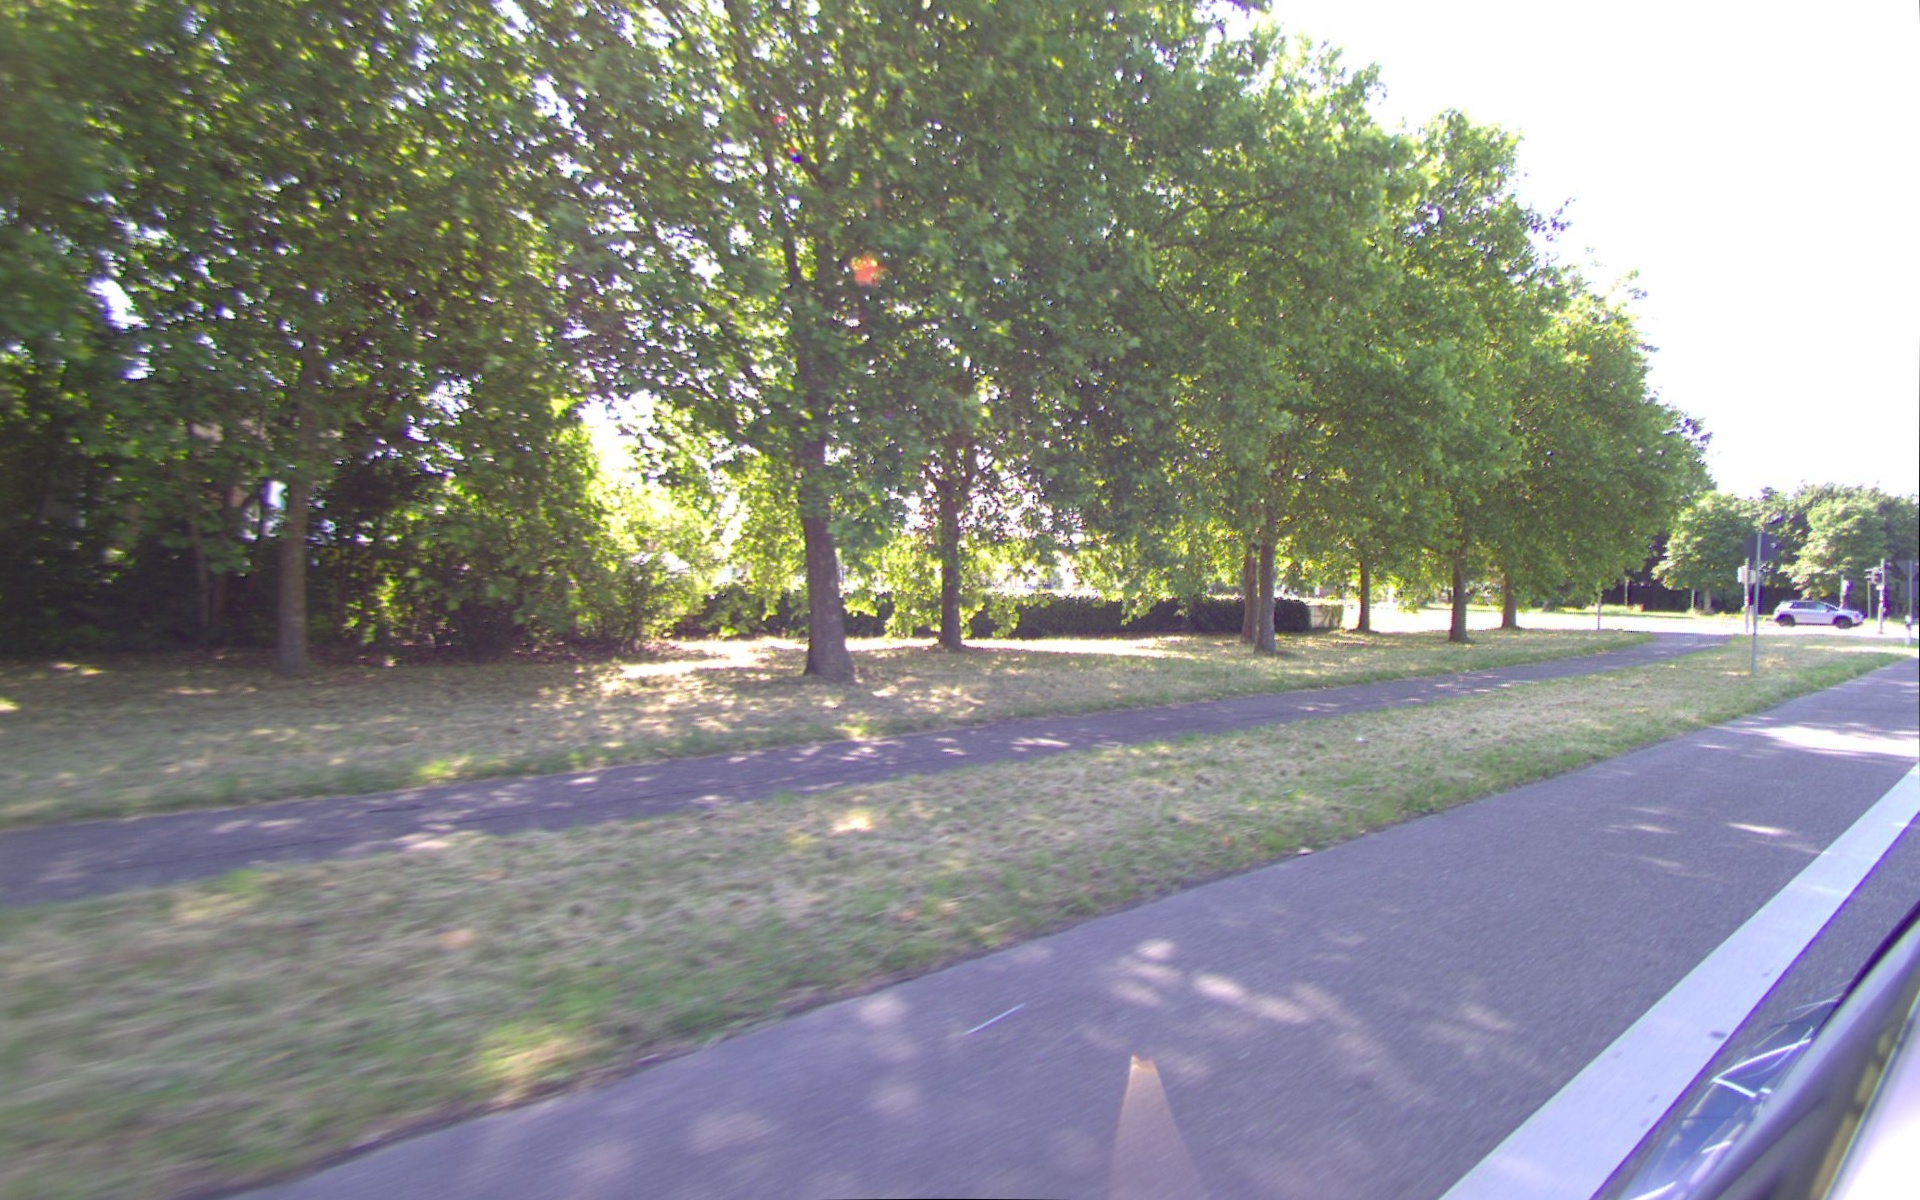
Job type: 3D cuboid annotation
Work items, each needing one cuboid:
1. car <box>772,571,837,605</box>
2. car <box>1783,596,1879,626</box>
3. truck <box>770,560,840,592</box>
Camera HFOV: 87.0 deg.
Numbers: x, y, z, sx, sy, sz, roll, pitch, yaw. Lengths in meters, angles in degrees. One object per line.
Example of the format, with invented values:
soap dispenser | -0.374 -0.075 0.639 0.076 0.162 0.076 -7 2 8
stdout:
car | -8.519 -0.656 55.123 1.961 1.749 4.002 0 1 -34
car | 50.721 0.619 58.986 1.713 1.583 4.058 0 1 -42
truck | -17.775 -2.729 116.036 8.185 3.590 2.605 1 1 31
